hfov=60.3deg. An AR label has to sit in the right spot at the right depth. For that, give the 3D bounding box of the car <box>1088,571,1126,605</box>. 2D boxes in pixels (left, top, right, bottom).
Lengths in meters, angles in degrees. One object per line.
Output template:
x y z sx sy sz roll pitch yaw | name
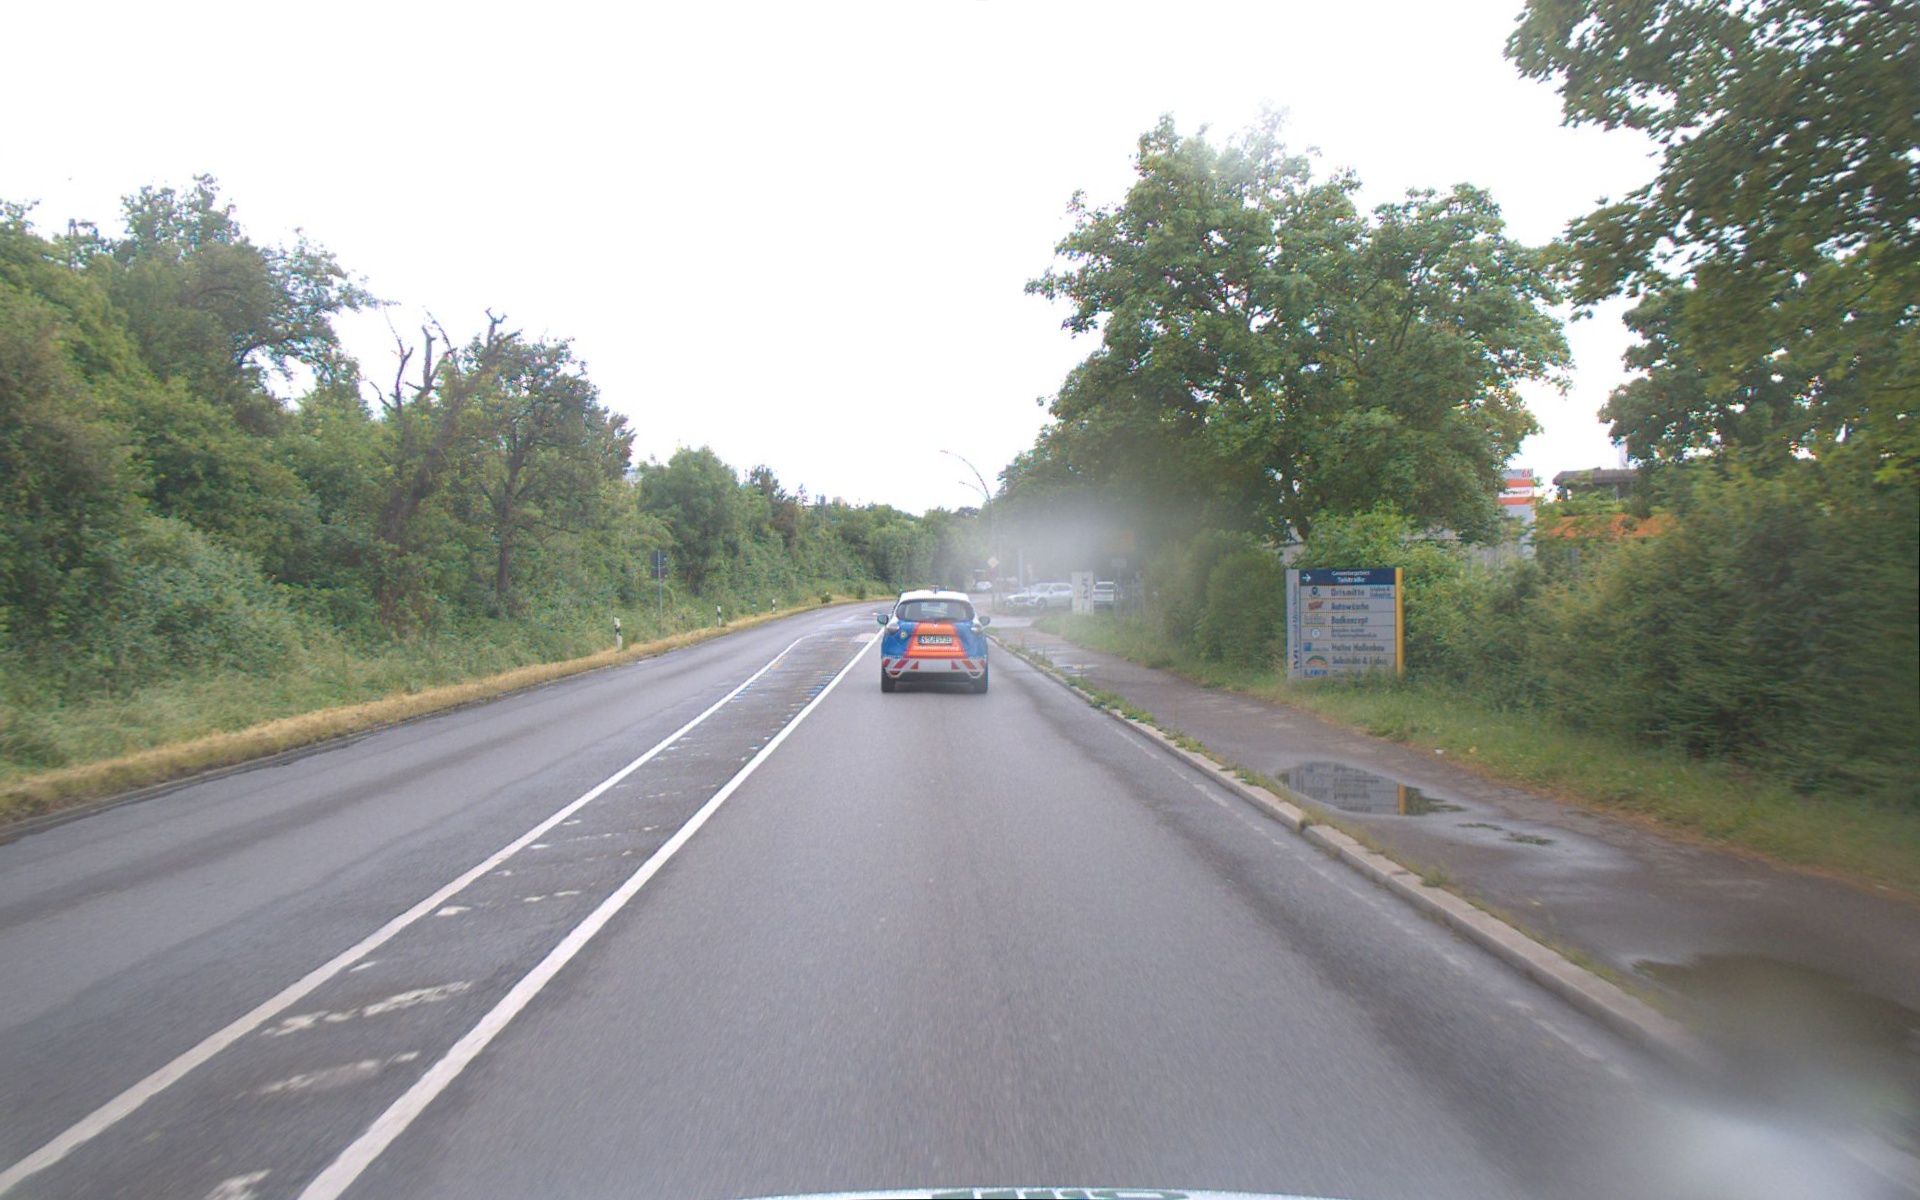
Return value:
8.144 -0.651 92.106 1.788 1.861 4.264 1 0 1 | car

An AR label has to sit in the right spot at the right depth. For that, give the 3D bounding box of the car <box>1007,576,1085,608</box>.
4.969 -0.442 95.057 2.001 1.782 4.587 1 0 44 | car

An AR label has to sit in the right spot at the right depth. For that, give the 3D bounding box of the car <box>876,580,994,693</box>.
-0.435 0.557 27.147 1.769 1.697 3.854 1 0 -2 | car

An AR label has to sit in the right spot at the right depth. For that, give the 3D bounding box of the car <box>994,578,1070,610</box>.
4.295 -0.327 98.046 2.000 1.782 4.587 -2 -2 44 | car

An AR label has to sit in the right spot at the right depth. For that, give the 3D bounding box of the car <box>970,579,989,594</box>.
2.505 -1.702 208.834 1.658 1.822 3.859 1 0 11 | car

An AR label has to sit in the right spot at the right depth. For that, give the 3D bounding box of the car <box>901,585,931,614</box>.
-2.880 -0.009 109.179 1.658 1.822 3.857 1 0 2 | car

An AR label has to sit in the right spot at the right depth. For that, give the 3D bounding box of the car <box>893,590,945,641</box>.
-1.408 0.500 55.821 1.660 1.623 3.854 1 0 -2 | car
